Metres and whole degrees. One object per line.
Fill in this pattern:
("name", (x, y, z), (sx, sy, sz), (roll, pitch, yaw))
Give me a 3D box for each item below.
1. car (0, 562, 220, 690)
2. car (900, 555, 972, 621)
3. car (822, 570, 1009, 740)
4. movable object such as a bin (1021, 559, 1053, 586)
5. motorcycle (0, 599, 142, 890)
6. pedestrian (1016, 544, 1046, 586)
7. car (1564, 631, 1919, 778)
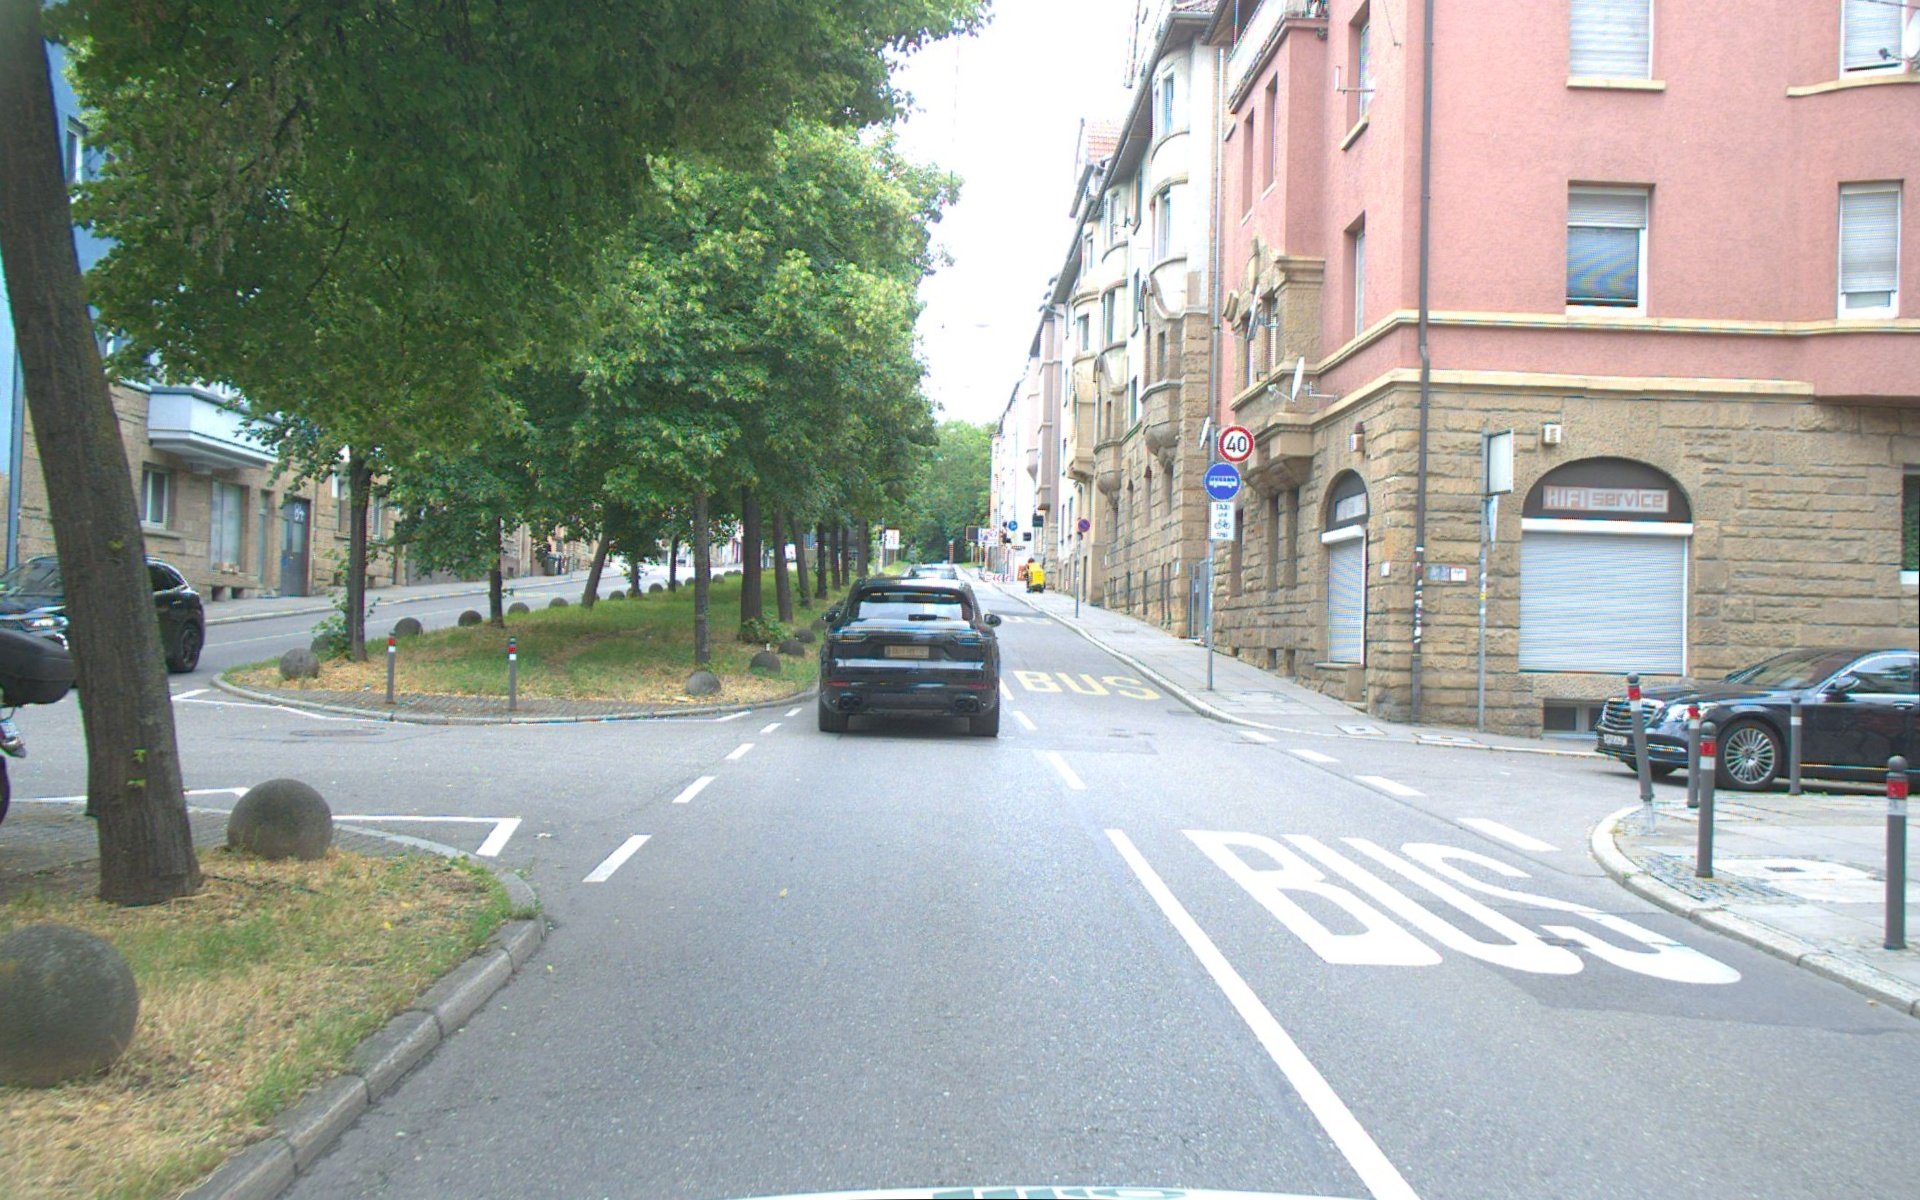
("car", (-11.758, 0.268, 21.870), (1.953, 1.509, 4.531), (1, 1, -1))
("car", (-0.683, -0.335, 47.735), (1.953, 1.784, 3.999), (2, 0, -1))
("car", (-0.547, 0.552, 18.918), (1.865, 1.695, 4.133), (2, 0, -3))
("movable object such as a bin", (3.798, -1.369, 81.899), (1.214, 1.296, 1.842), (1, 0, -10))
("motorcycle", (-4.409, 0.588, 6.639), (1.041, 1.168, 2.447), (1, 0, -1))
("pedestrian", (3.578, -1.757, 83.282), (1.277, 2.049, 1.017), (1, 0, -10))
("car", (8.535, 1.065, 16.998), (3.910, 1.400, 1.997), (1, -3, -6))
